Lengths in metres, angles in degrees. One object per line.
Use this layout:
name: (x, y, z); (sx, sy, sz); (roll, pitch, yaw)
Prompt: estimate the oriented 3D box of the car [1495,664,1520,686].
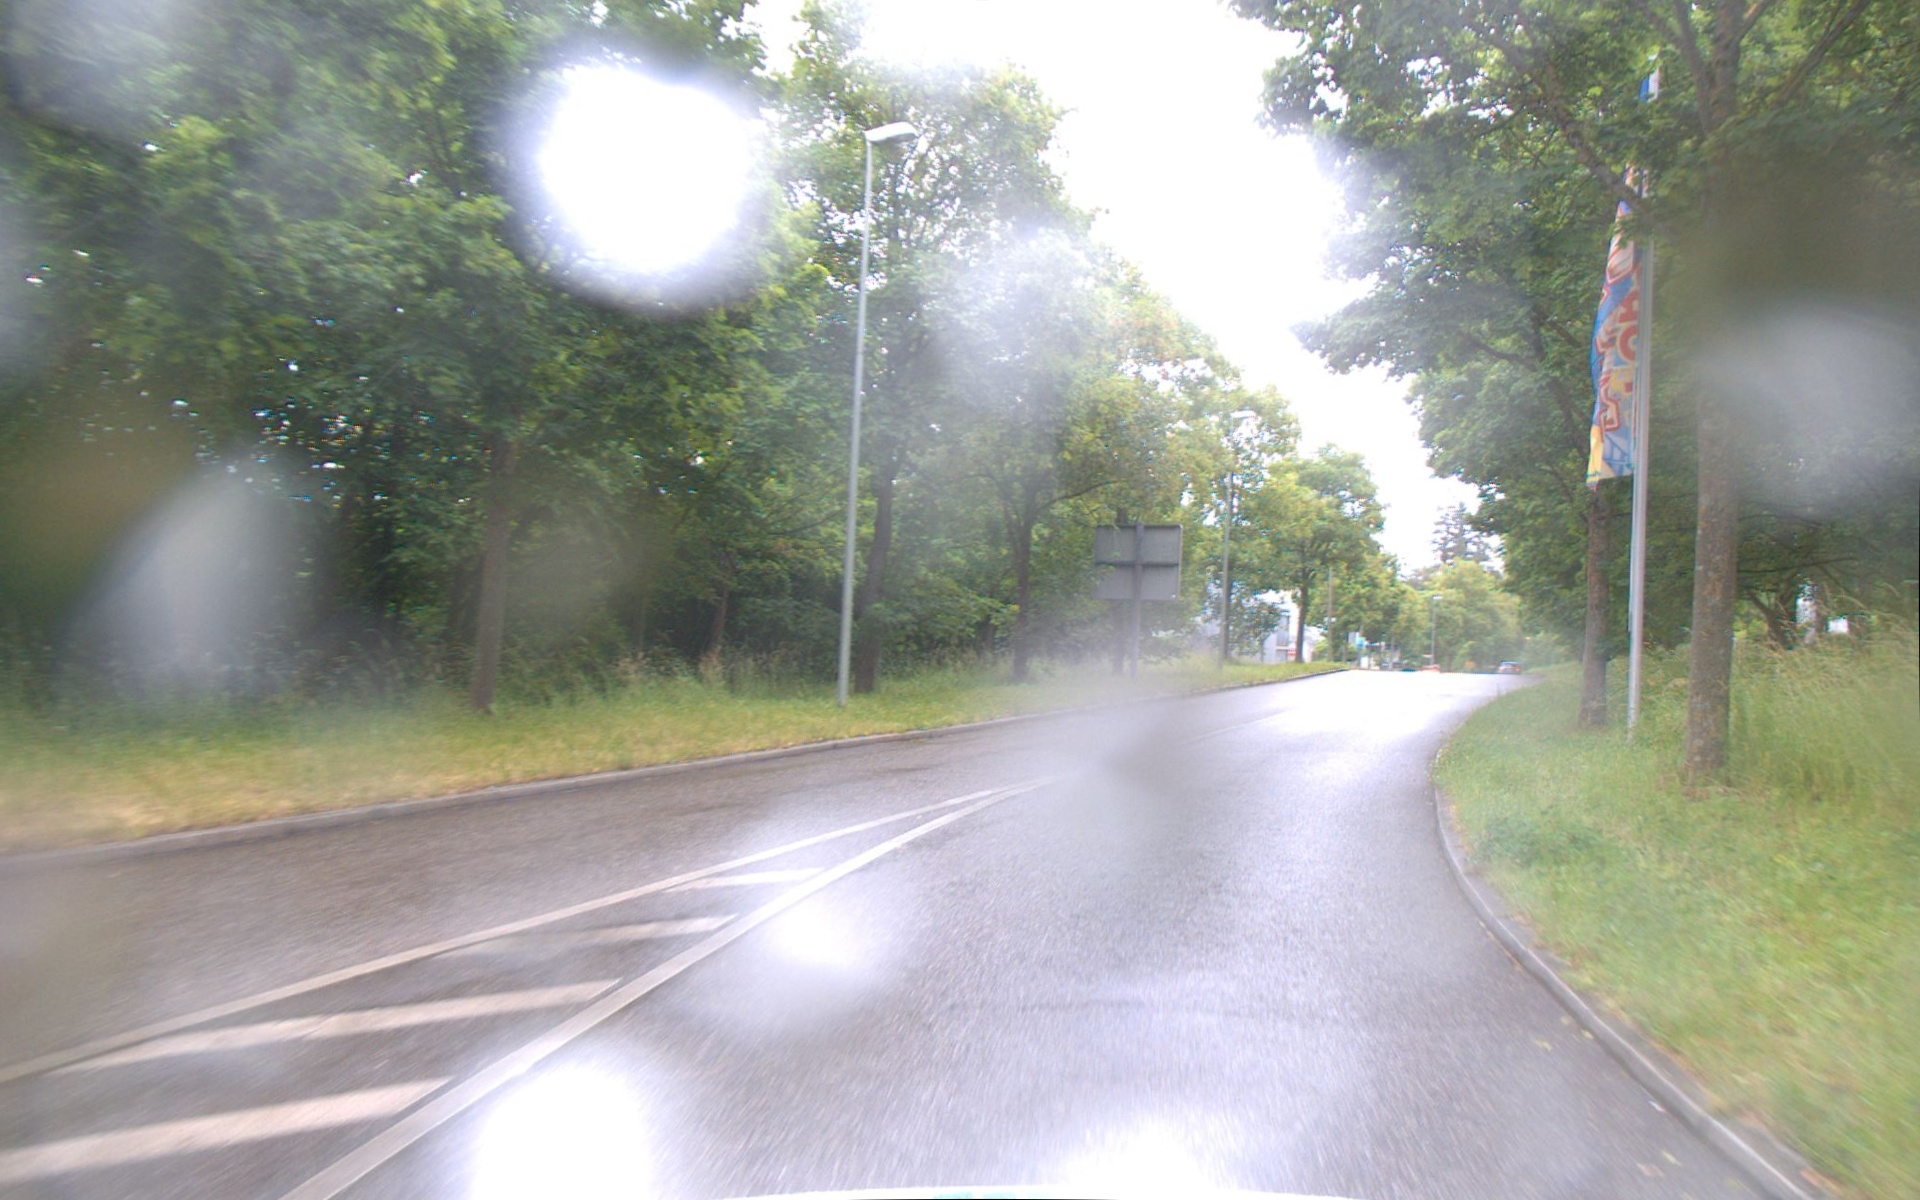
car: (45.198, 6.212, 136.504); (1.824, 1.695, 4.000); (1, -3, 19)
